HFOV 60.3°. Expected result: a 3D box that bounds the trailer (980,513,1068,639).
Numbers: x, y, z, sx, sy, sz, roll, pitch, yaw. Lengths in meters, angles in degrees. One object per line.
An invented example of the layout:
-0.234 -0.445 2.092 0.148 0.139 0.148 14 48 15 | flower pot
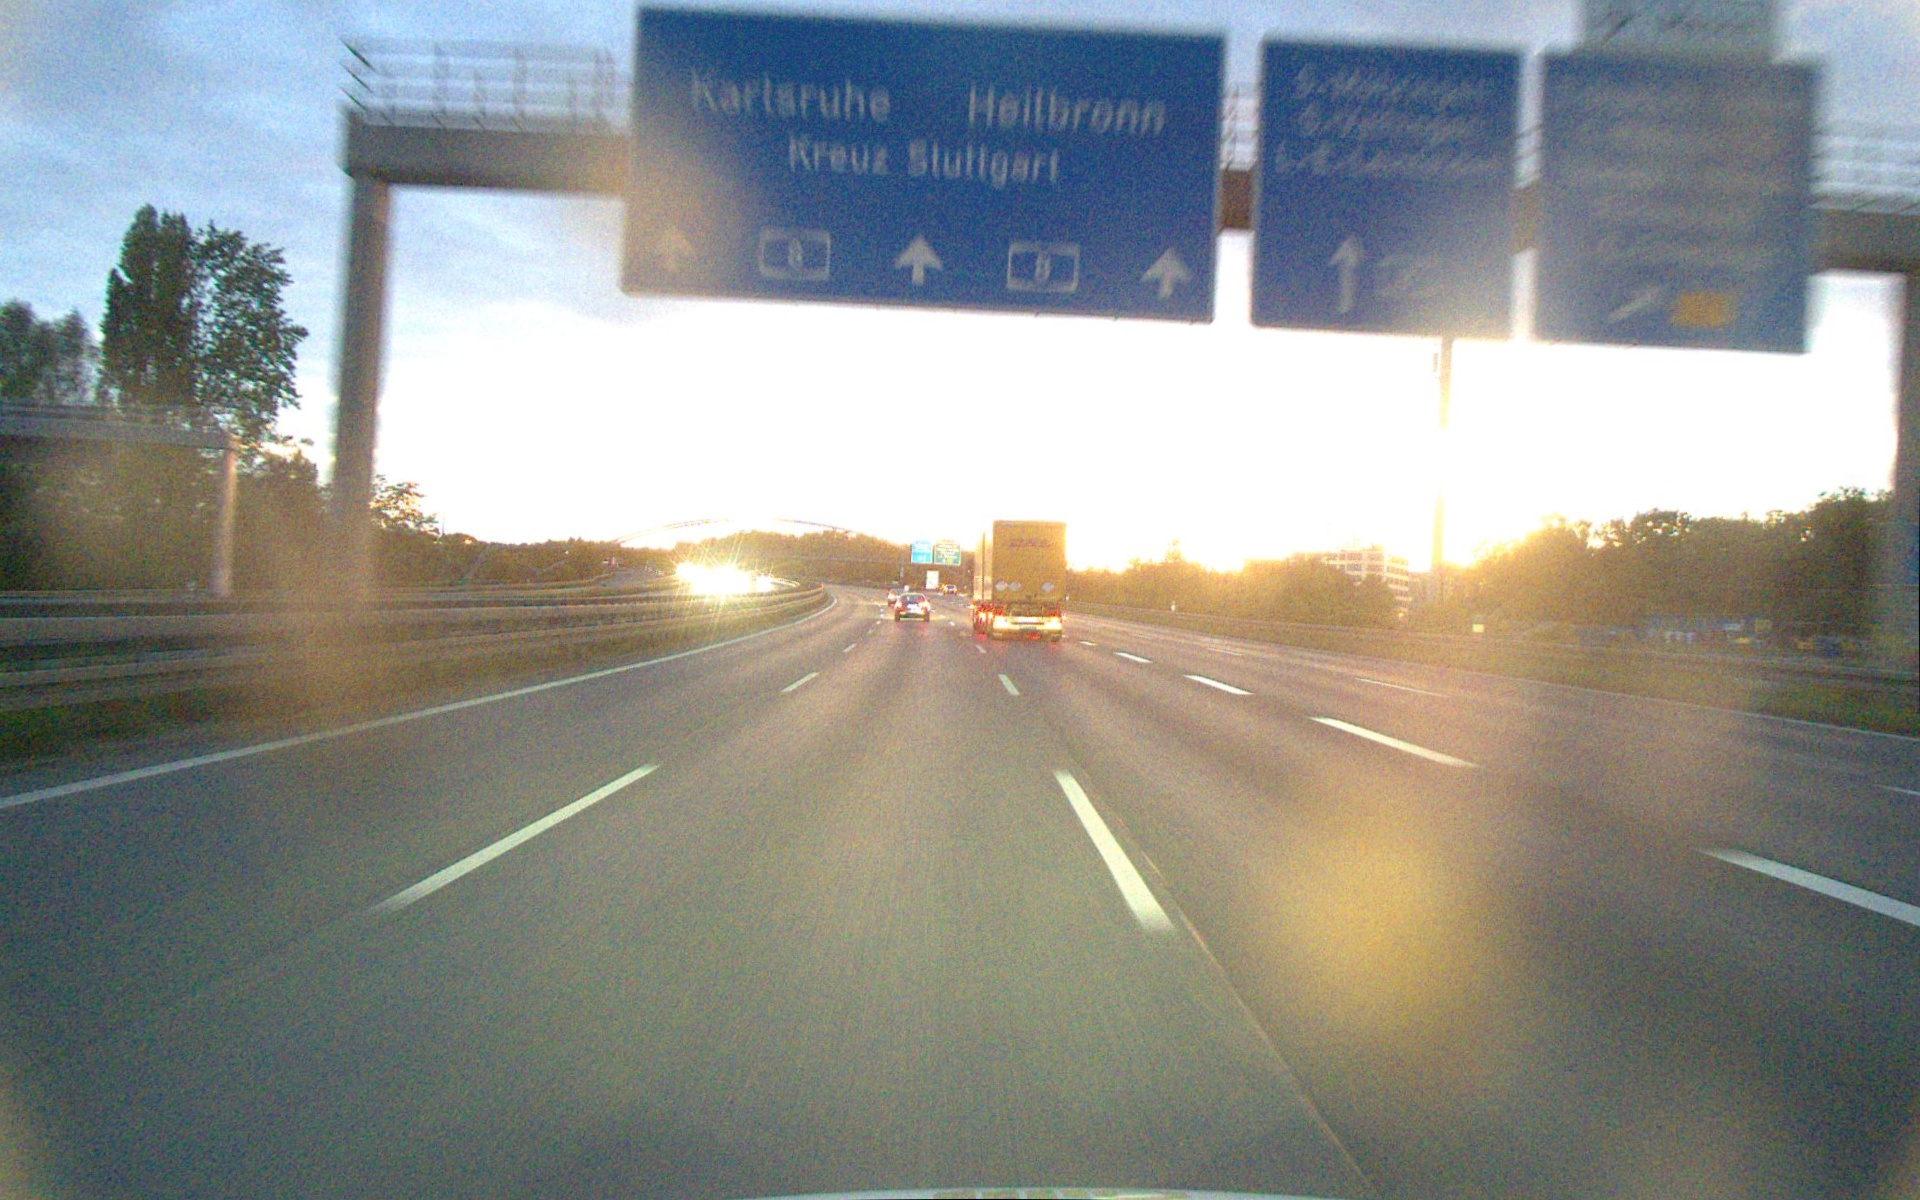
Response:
2.192 -0.859 59.710 2.666 4.142 8.830 1 1 -1 | trailer

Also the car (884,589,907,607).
-5.345 -0.130 137.251 1.654 1.426 3.409 0 -1 2 | car

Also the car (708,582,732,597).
-23.361 -1.068 161.140 1.954 1.382 4.862 1 1 -3 | car

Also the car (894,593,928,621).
-2.575 0.362 87.147 1.656 1.426 3.406 1 -1 -4 | car

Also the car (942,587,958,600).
-1.453 -0.910 233.441 1.954 1.747 3.996 2 -1 -4 | car

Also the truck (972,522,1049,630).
2.008 -1.000 69.371 2.636 4.142 10.518 1 1 -1 | truck
